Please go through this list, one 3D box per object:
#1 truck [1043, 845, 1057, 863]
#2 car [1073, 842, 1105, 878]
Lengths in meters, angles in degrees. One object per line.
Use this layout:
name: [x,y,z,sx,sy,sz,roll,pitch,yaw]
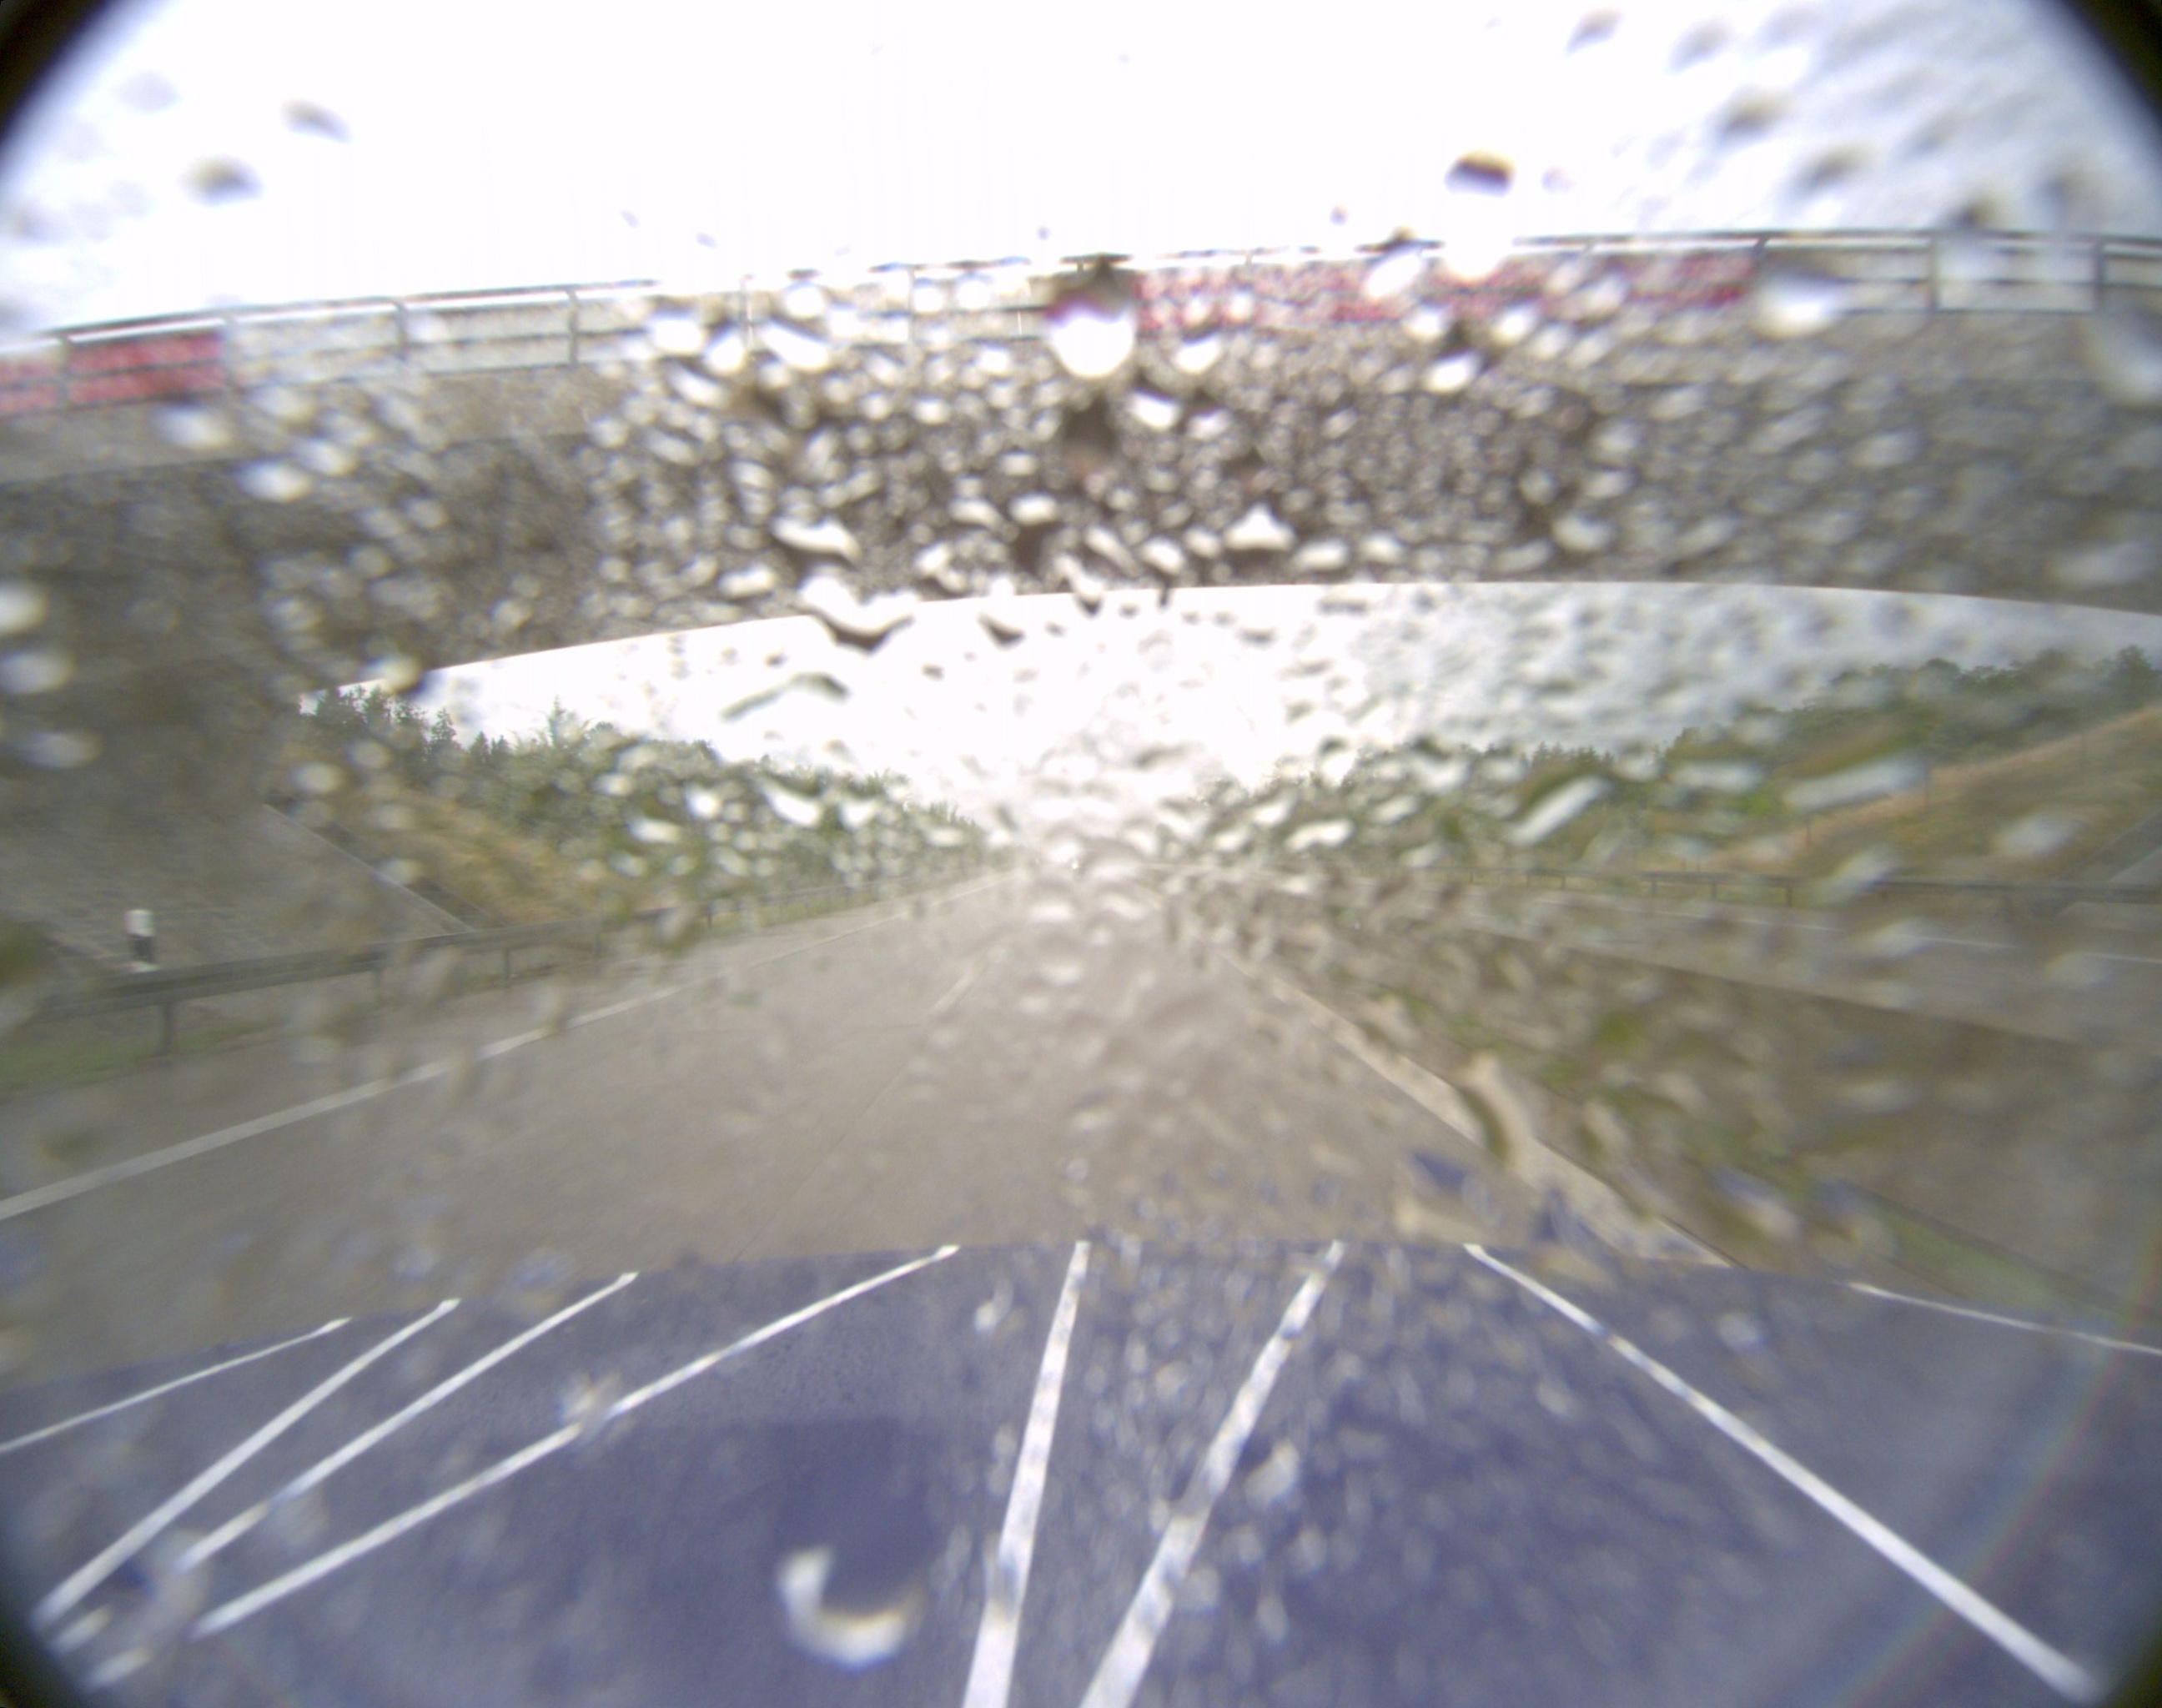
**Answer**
truck: [-7.402,0.003,180.669,2.768,4.062,5.435,1,-2,-6]
car: [0.553,0.435,48.049,1.795,2.113,4.526,0,-2,3]
